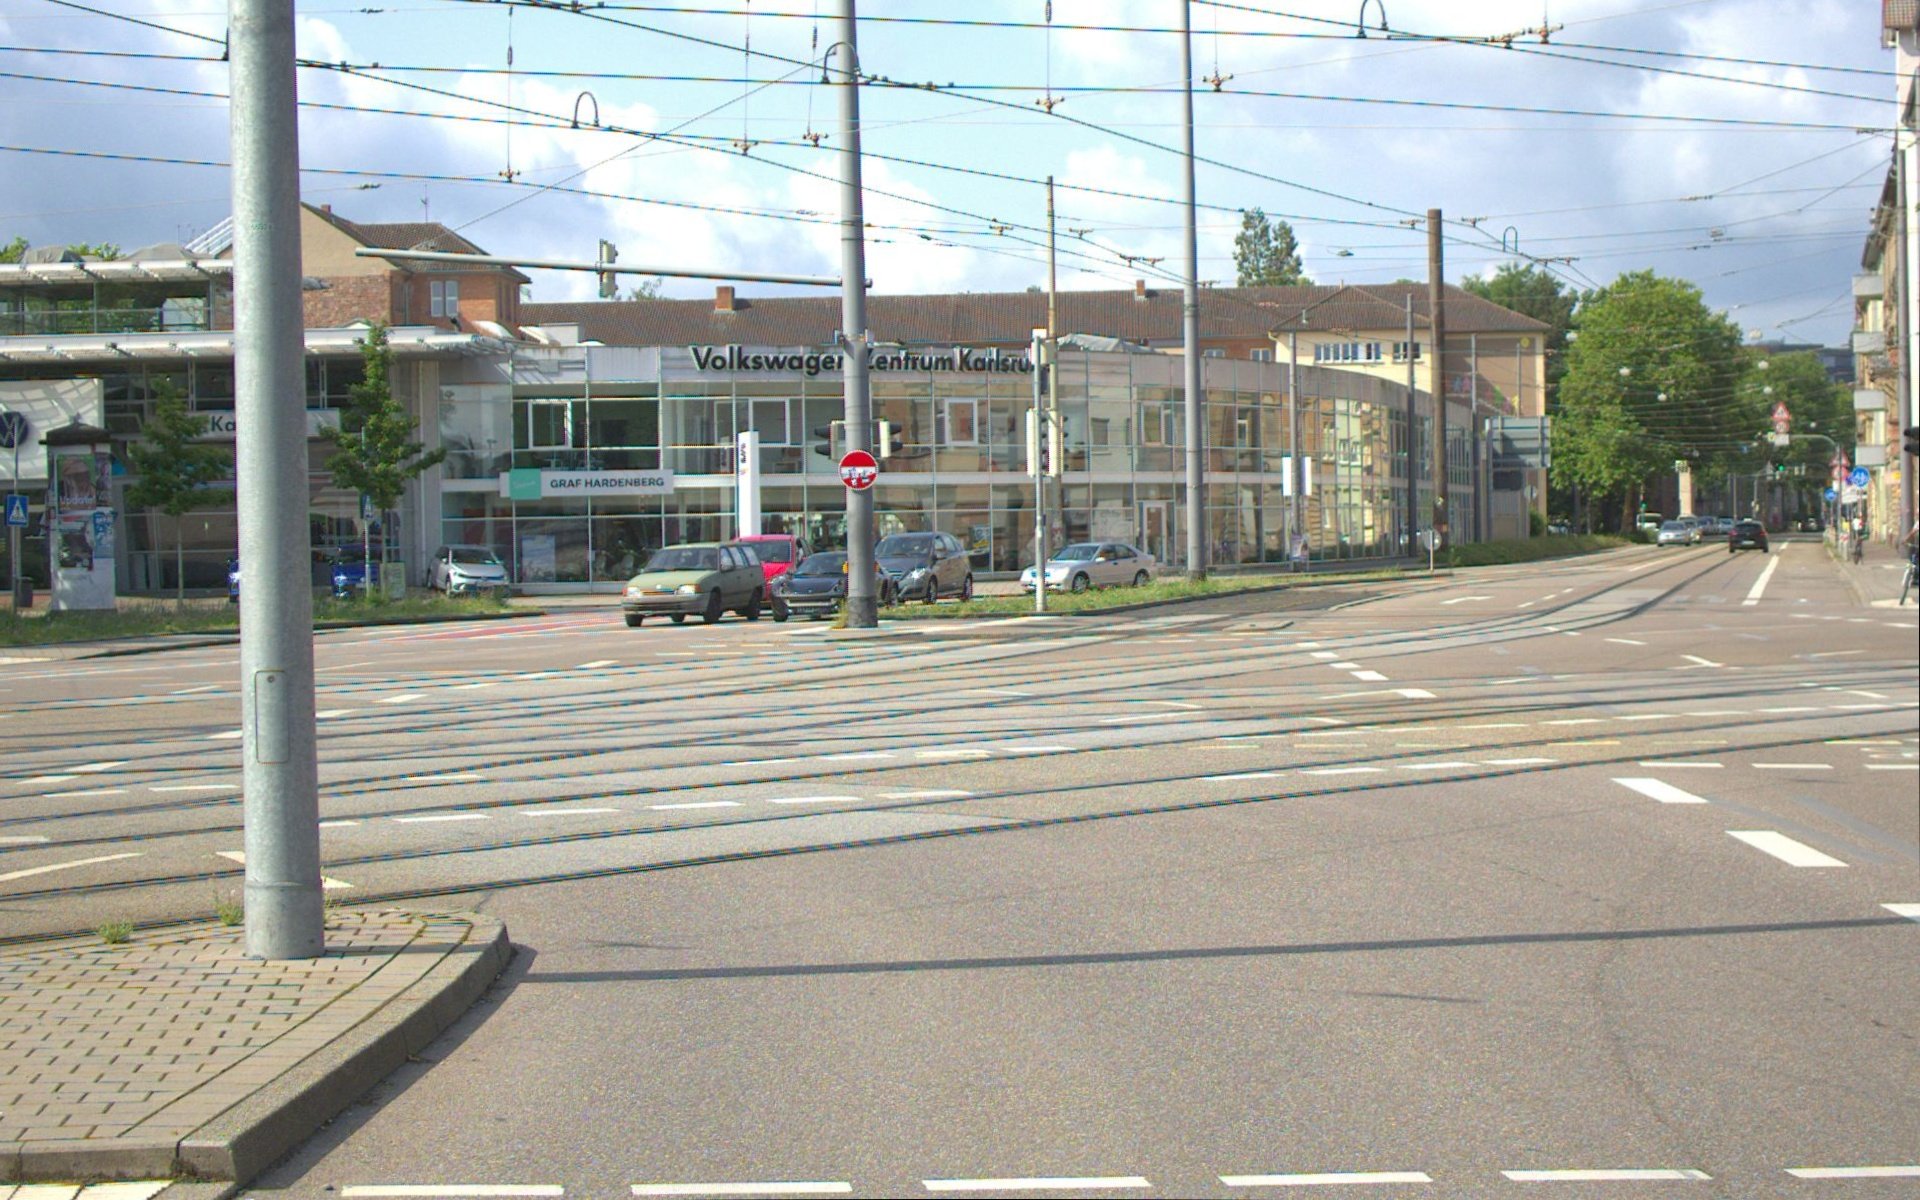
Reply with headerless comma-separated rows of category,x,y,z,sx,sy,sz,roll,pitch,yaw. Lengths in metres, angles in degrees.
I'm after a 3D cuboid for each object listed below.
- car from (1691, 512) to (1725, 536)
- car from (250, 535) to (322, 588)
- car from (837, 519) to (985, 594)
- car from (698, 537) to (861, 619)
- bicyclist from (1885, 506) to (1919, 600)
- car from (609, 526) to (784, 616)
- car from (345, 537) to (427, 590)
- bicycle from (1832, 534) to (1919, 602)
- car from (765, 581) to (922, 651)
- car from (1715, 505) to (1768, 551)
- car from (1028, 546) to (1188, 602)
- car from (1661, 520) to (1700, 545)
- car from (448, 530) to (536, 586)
car,45.660,-4.635,209.962,1.994,1.486,3.998,0,1,11
car,-19.045,-1.112,97.256,1.919,1.440,4.001,-1,1,-11
car,-1.036,-0.965,74.468,1.995,1.546,3.997,-1,1,18
car,-3.467,-0.438,66.757,1.995,1.514,3.997,1,1,15
bicyclist,17.097,-0.842,60.771,1.193,1.652,0.786,-1,1,-9
car,-4.591,-0.506,60.519,1.822,1.508,3.997,1,1,15
car,-16.142,-1.041,96.754,1.919,1.440,4.001,-1,1,-5
bicycle,16.860,-0.584,60.725,2.671,1.166,0.901,-1,1,-9
car,-2.001,0.263,60.216,1.622,1.157,3.997,1,1,15
car,35.460,-3.279,155.982,1.995,2.007,3.997,-1,1,18
car,4.025,-0.706,93.022,1.780,1.459,4.470,1,1,44
car,41.006,-3.850,195.754,1.994,1.327,3.999,-1,1,10
car,-13.416,-1.224,98.776,1.919,1.546,4.000,-1,1,1
